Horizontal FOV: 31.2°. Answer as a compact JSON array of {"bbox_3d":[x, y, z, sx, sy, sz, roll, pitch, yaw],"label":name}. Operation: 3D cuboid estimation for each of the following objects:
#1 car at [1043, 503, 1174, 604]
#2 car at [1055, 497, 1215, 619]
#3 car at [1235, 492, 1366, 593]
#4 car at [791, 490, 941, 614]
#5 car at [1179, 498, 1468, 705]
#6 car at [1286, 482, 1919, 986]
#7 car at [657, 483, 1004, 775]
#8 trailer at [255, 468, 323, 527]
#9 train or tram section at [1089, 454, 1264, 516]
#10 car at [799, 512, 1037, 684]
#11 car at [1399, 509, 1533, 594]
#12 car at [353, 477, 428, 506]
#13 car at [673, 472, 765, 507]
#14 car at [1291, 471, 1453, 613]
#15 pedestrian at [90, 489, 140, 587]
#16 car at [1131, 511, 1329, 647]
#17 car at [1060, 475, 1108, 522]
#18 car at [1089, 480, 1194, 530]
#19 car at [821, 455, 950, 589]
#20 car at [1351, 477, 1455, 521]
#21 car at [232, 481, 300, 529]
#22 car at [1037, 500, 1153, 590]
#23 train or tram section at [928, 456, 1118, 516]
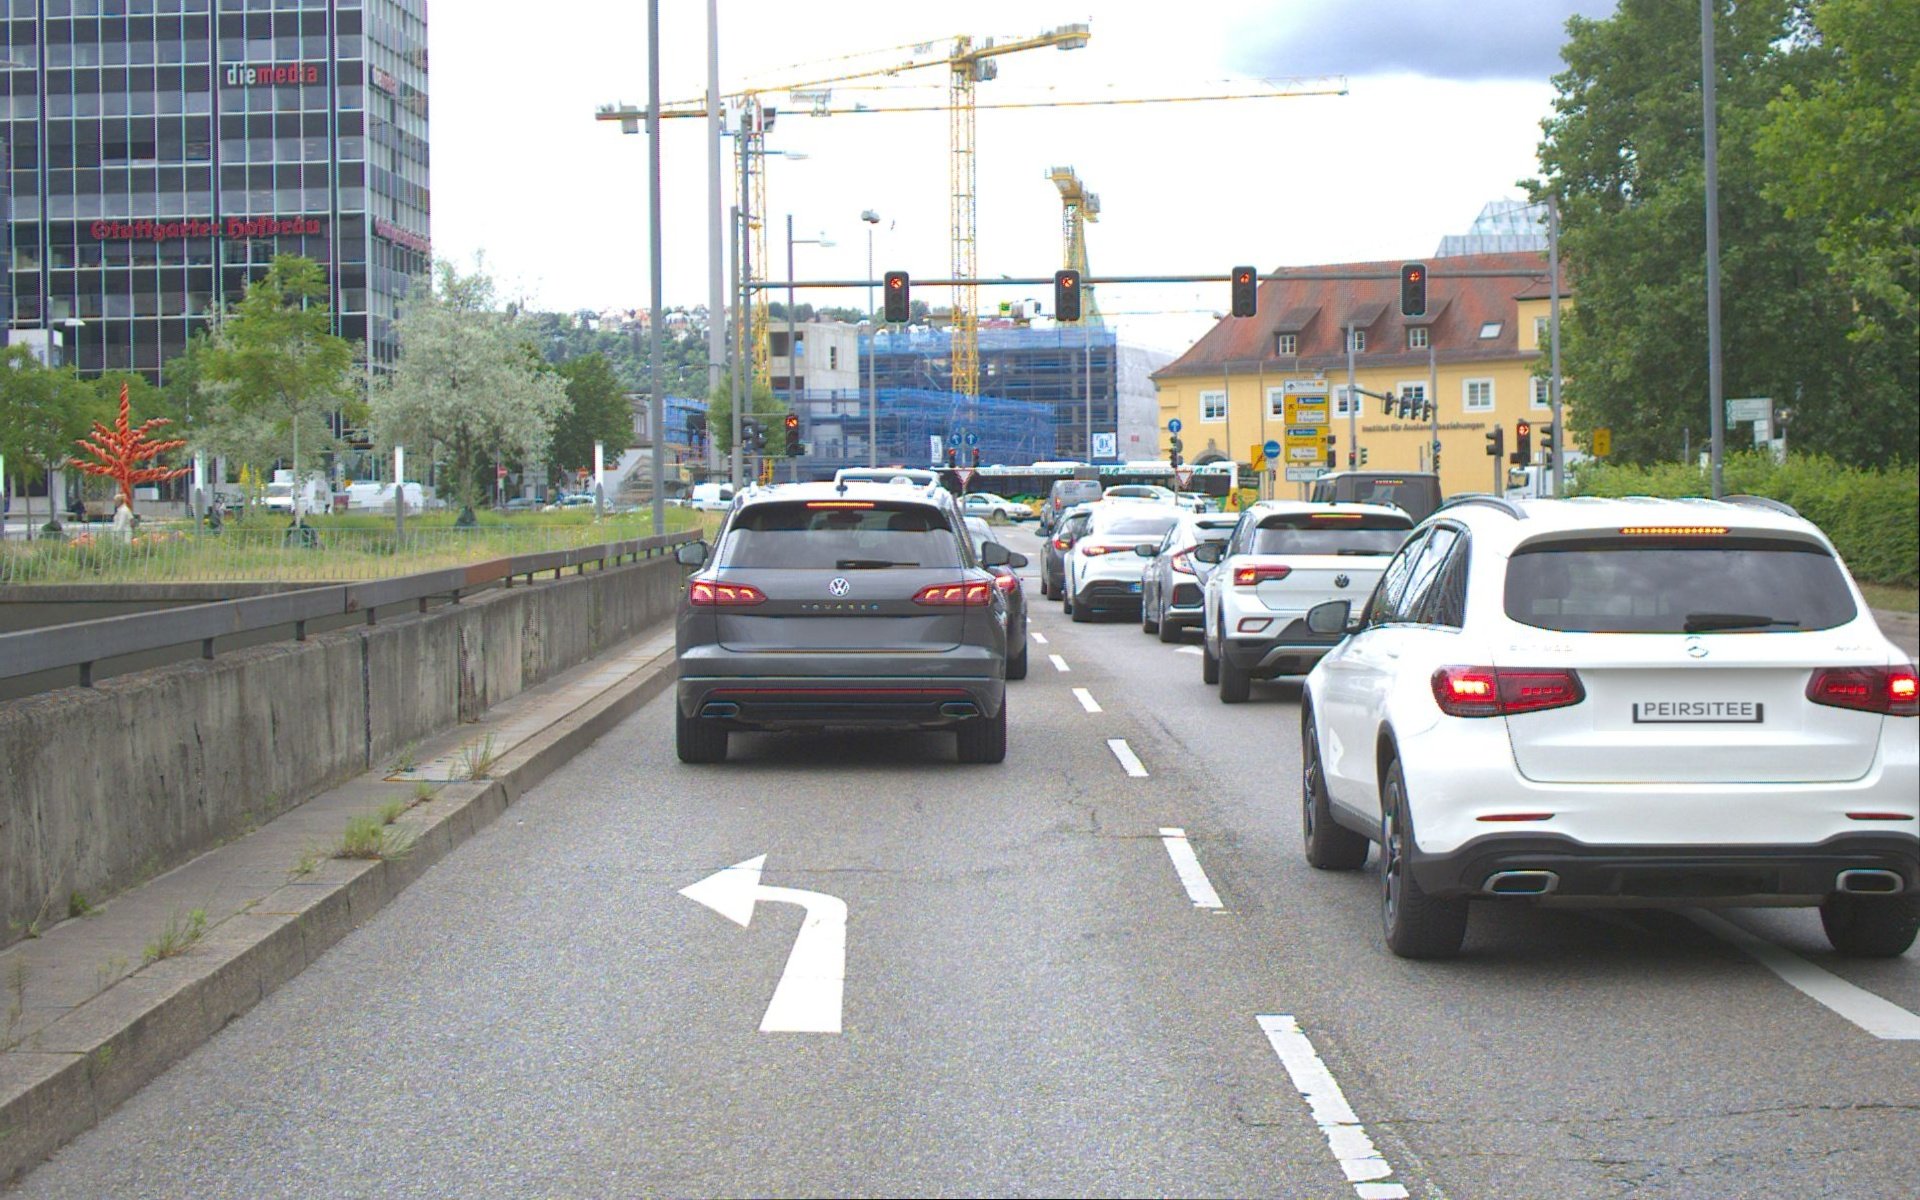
[{"bbox_3d":[2.308,-0.744,54.277,1.926,1.524,4.048,0,1,1],"label":"car"},{"bbox_3d":[2.264,-0.576,45.457,1.926,1.524,4.490,0,1,1],"label":"car"},{"bbox_3d":[6.023,-1.027,61.221,1.910,1.691,4.012,1,1,0],"label":"car"},{"bbox_3d":[-1.269,-0.685,47.476,1.951,1.594,3.931,1,2,-1],"label":"car"},{"bbox_3d":[2.875,-0.034,28.110,1.926,1.545,4.490,0,1,1],"label":"car"},{"bbox_3d":[2.426,0.387,13.477,1.926,1.648,4.490,0,1,1],"label":"car"},{"bbox_3d":[-0.756,0.104,21.363,1.951,1.645,4.001,0,2,-1],"label":"car"},{"bbox_3d":[-30.605,-4.707,157.003,2.037,2.595,5.509,1,2,0],"label":"trailer"},{"bbox_3d":[10.964,-5.833,174.735,8.941,2.999,2.591,2,0,38],"label":"train or tram section"},{"bbox_3d":[-0.379,-0.068,30.683,1.951,1.379,3.931,1,2,-1],"label":"car"},{"bbox_3d":[9.137,-0.892,62.314,1.757,1.442,3.634,1,1,-2],"label":"car"},{"bbox_3d":[-33.443,-6.359,201.790,3.992,1.563,1.834,2,0,26],"label":"car"},{"bbox_3d":[-11.551,-5.294,164.655,4.108,1.605,1.826,2,0,35],"label":"car"},{"bbox_3d":[6.130,-0.874,51.555,1.910,2.007,4.012,1,1,0],"label":"car"},{"bbox_3d":[-17.558,-1.292,71.450,0.860,2.006,0.629,-1,3,-1],"label":"pedestrian"},{"bbox_3d":[2.974,-0.267,38.736,1.926,1.427,4.490,0,1,1],"label":"car"},{"bbox_3d":[4.603,-3.756,127.794,1.619,1.622,4.000,1,0,0],"label":"car"},{"bbox_3d":[7.729,-4.054,146.414,3.994,2.007,1.996,2,0,33],"label":"car"},{"bbox_3d":[-1.175,-1.260,54.941,1.951,2.011,3.931,1,2,-1],"label":"car"},{"bbox_3d":[21.022,-4.790,163.242,4.454,2.007,1.996,2,0,34],"label":"car"},{"bbox_3d":[-30.642,-4.215,151.934,1.993,2.006,4.692,0,3,0],"label":"car"},{"bbox_3d":[2.350,-0.974,60.561,1.926,1.524,4.048,0,1,1],"label":"car"},{"bbox_3d":[3.238,-6.014,180.599,10.418,2.999,2.591,2,0,37],"label":"train or tram section"}]
